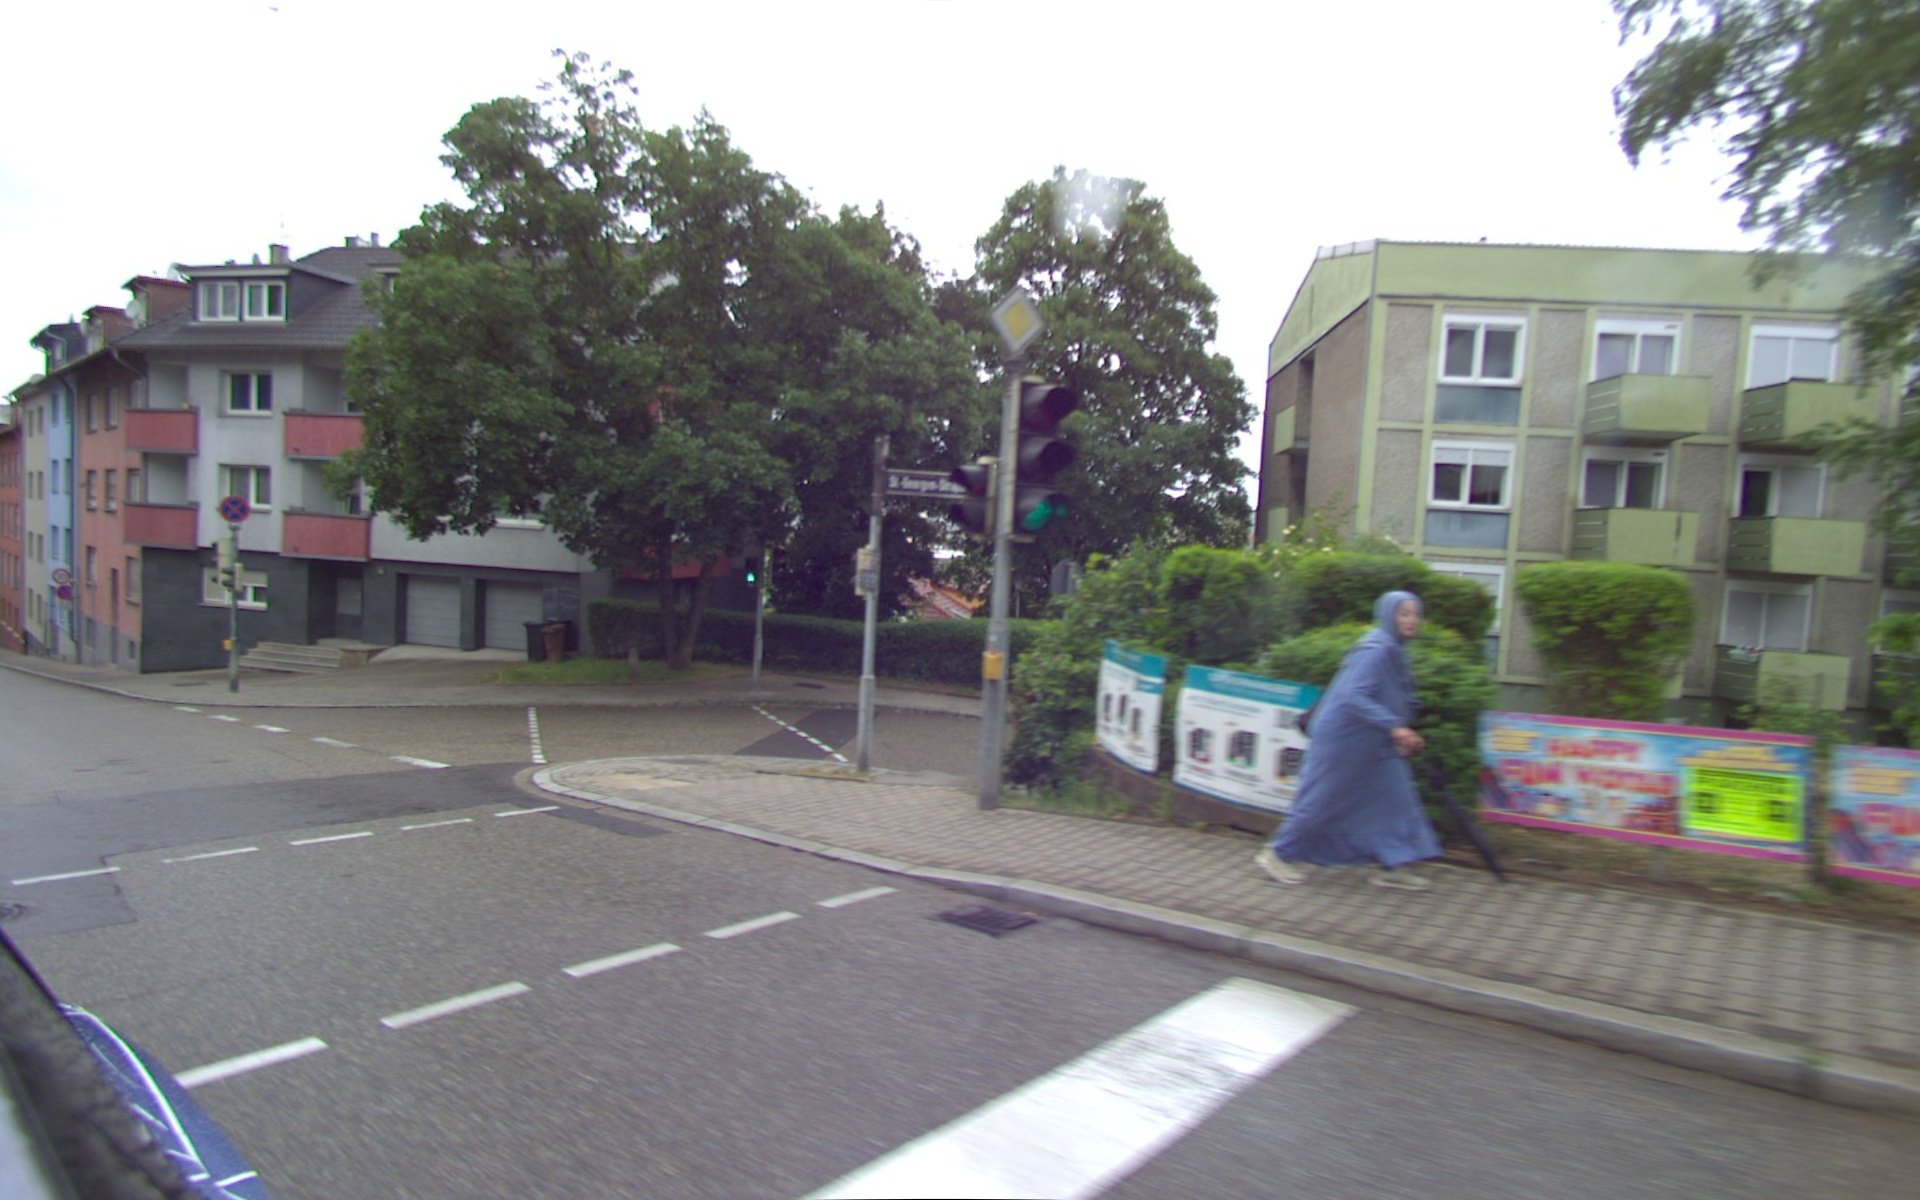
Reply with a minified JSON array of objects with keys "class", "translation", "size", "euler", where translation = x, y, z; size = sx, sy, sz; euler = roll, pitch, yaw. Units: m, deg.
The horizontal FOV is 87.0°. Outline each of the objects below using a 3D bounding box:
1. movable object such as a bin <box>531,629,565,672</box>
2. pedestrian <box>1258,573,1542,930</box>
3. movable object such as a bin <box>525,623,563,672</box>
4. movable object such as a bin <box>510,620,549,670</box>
[{"class":"movable object such as a bin","translation":[-10.266,1.244,25.230],"size":[0.496,1.023,0.626],"euler":[0,1,16]},{"class":"pedestrian","translation":[2.213,0.665,5.089],"size":[1.086,1.553,0.861],"euler":[-2,0,39]},{"class":"movable object such as a bin","translation":[-10.712,1.206,26.064],"size":[0.683,1.209,0.558],"euler":[0,1,16]},{"class":"movable object such as a bin","translation":[-10.847,1.134,25.493],"size":[0.683,1.209,0.558],"euler":[0,1,16]}]
